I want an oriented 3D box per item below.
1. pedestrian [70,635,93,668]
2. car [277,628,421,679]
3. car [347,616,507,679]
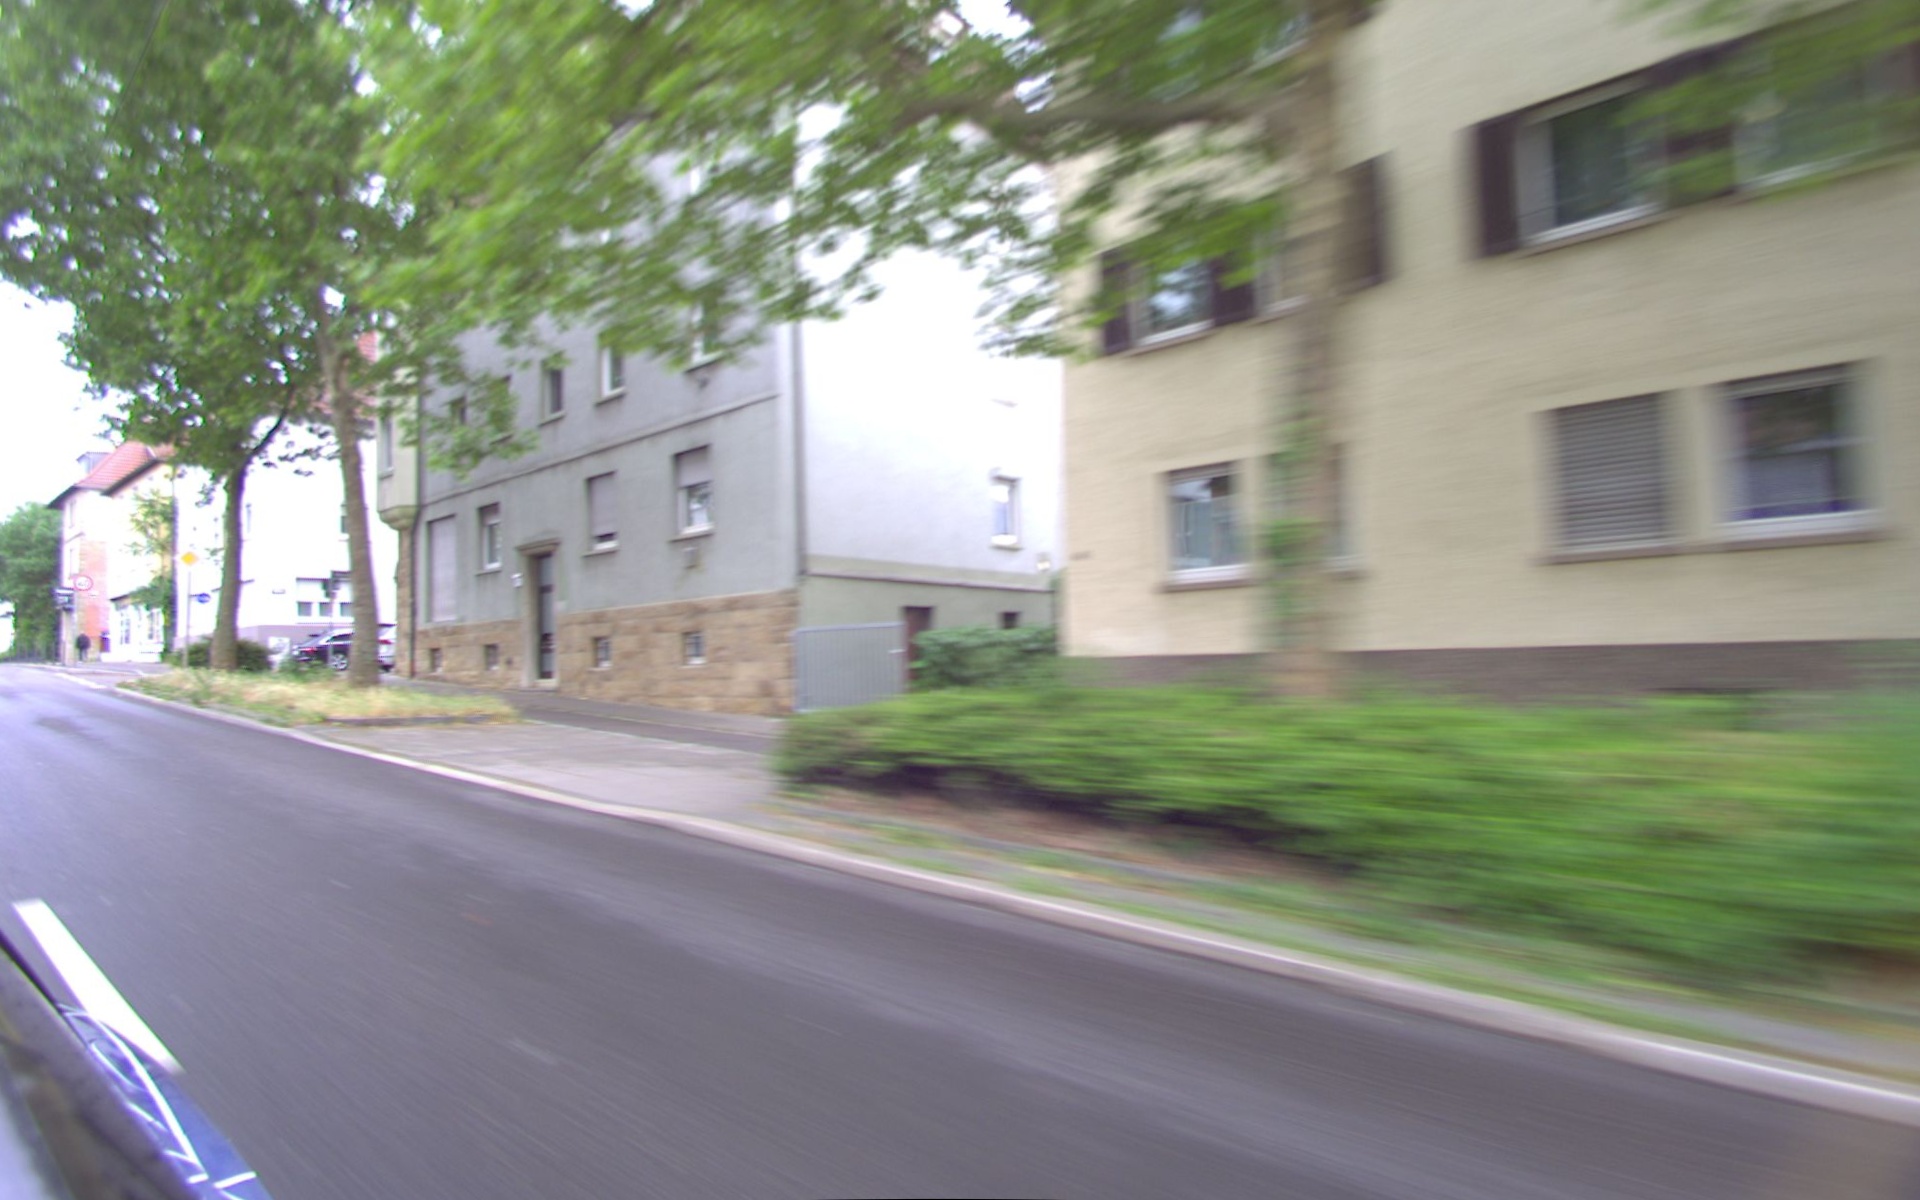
[{"bbox_3d":[-47.103,2.758,54.260,0.992,1.692,0.807,-2,-2,39],"label":"pedestrian"},{"bbox_3d":[-21.777,1.880,36.153,1.999,1.464,3.946,-3,0,41],"label":"car"},{"bbox_3d":[-17.296,1.500,32.985,1.999,1.716,4.139,-3,0,41],"label":"car"}]
